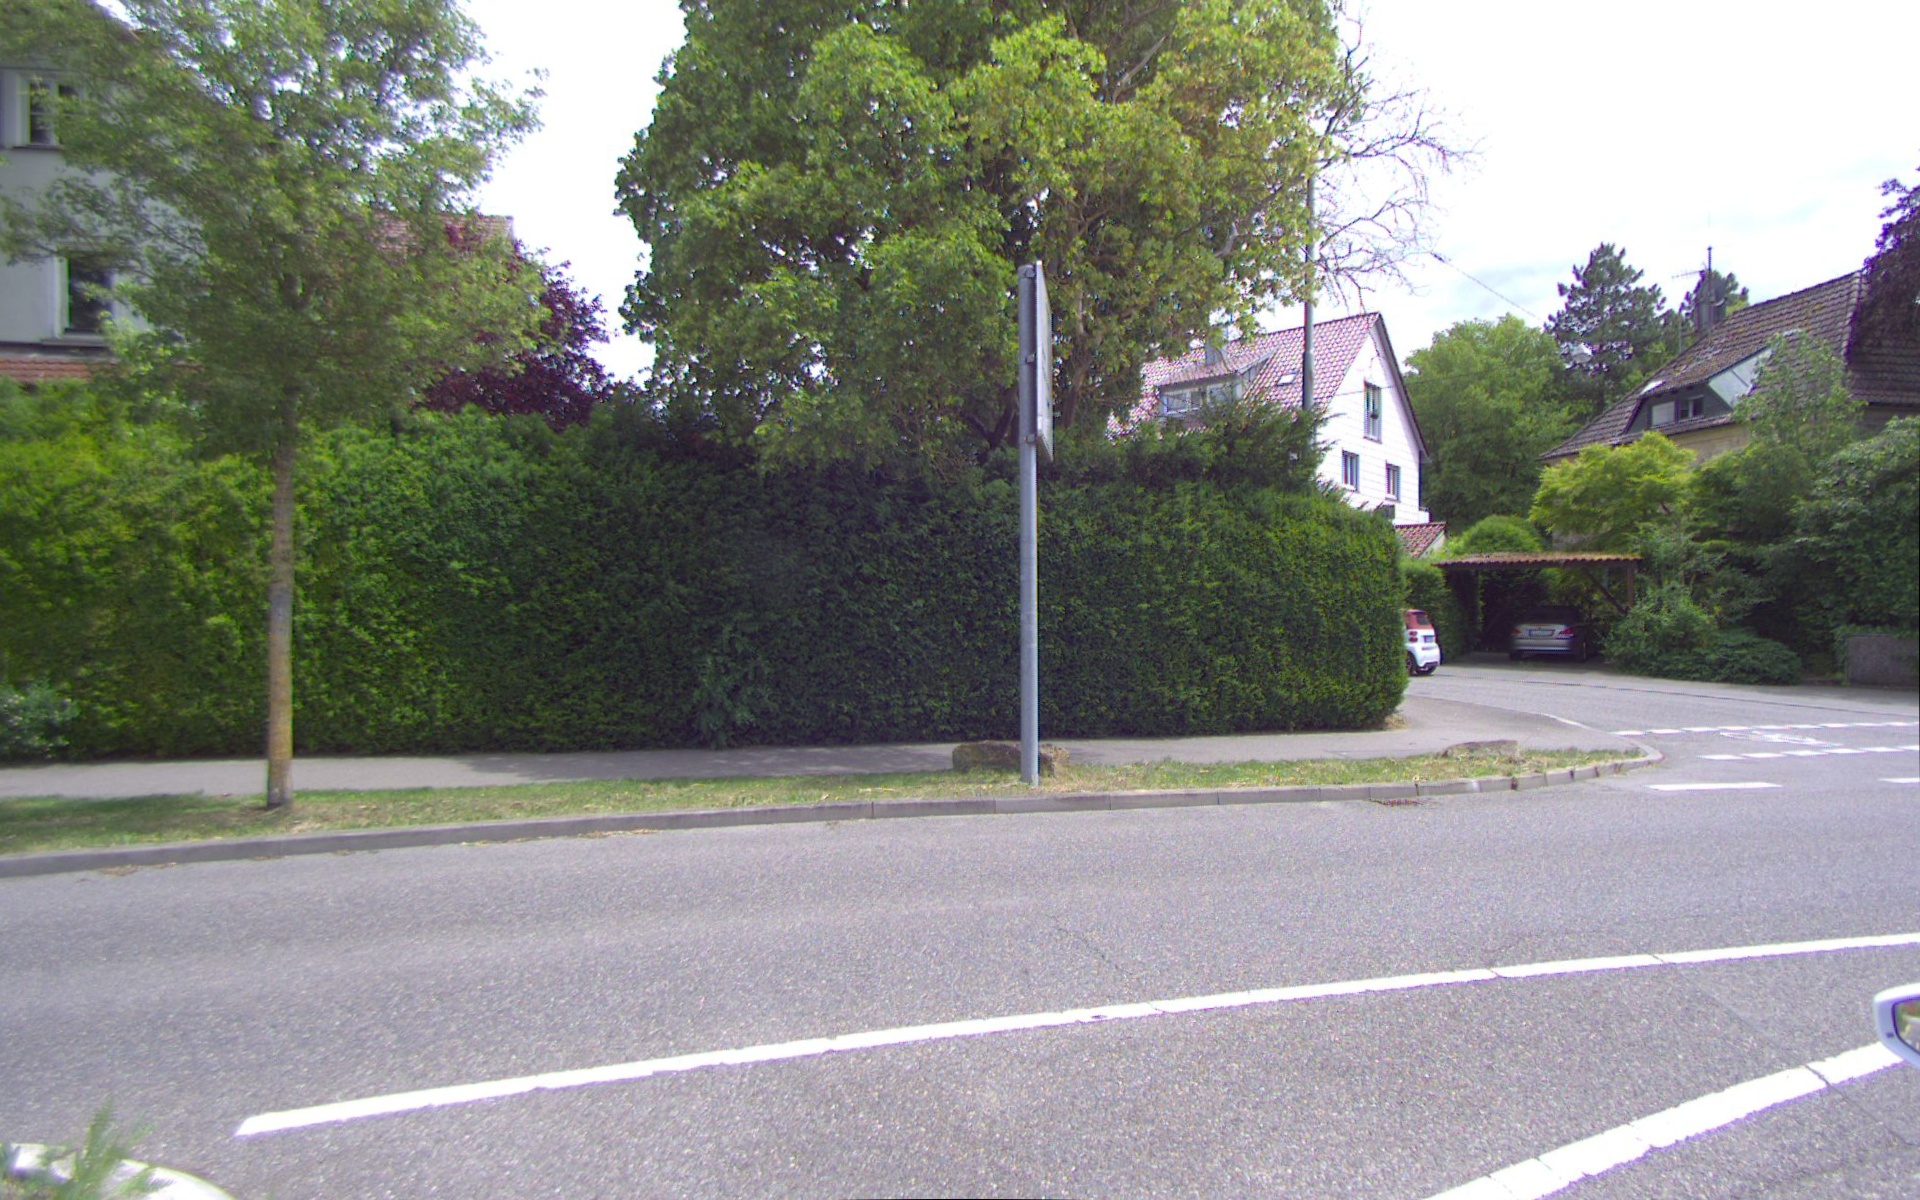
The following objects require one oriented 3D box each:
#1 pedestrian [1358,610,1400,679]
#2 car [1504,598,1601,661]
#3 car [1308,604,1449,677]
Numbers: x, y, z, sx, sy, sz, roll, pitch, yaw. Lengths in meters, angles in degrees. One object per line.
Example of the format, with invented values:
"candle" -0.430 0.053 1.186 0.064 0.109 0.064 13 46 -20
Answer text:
"pedestrian" 9.613 1.008 23.057 0.720 1.529 0.624 1 0 42
"car" 15.906 0.723 26.886 1.702 1.530 3.982 1 1 39
"car" 10.035 0.928 24.163 2.740 1.576 1.580 2 1 45
